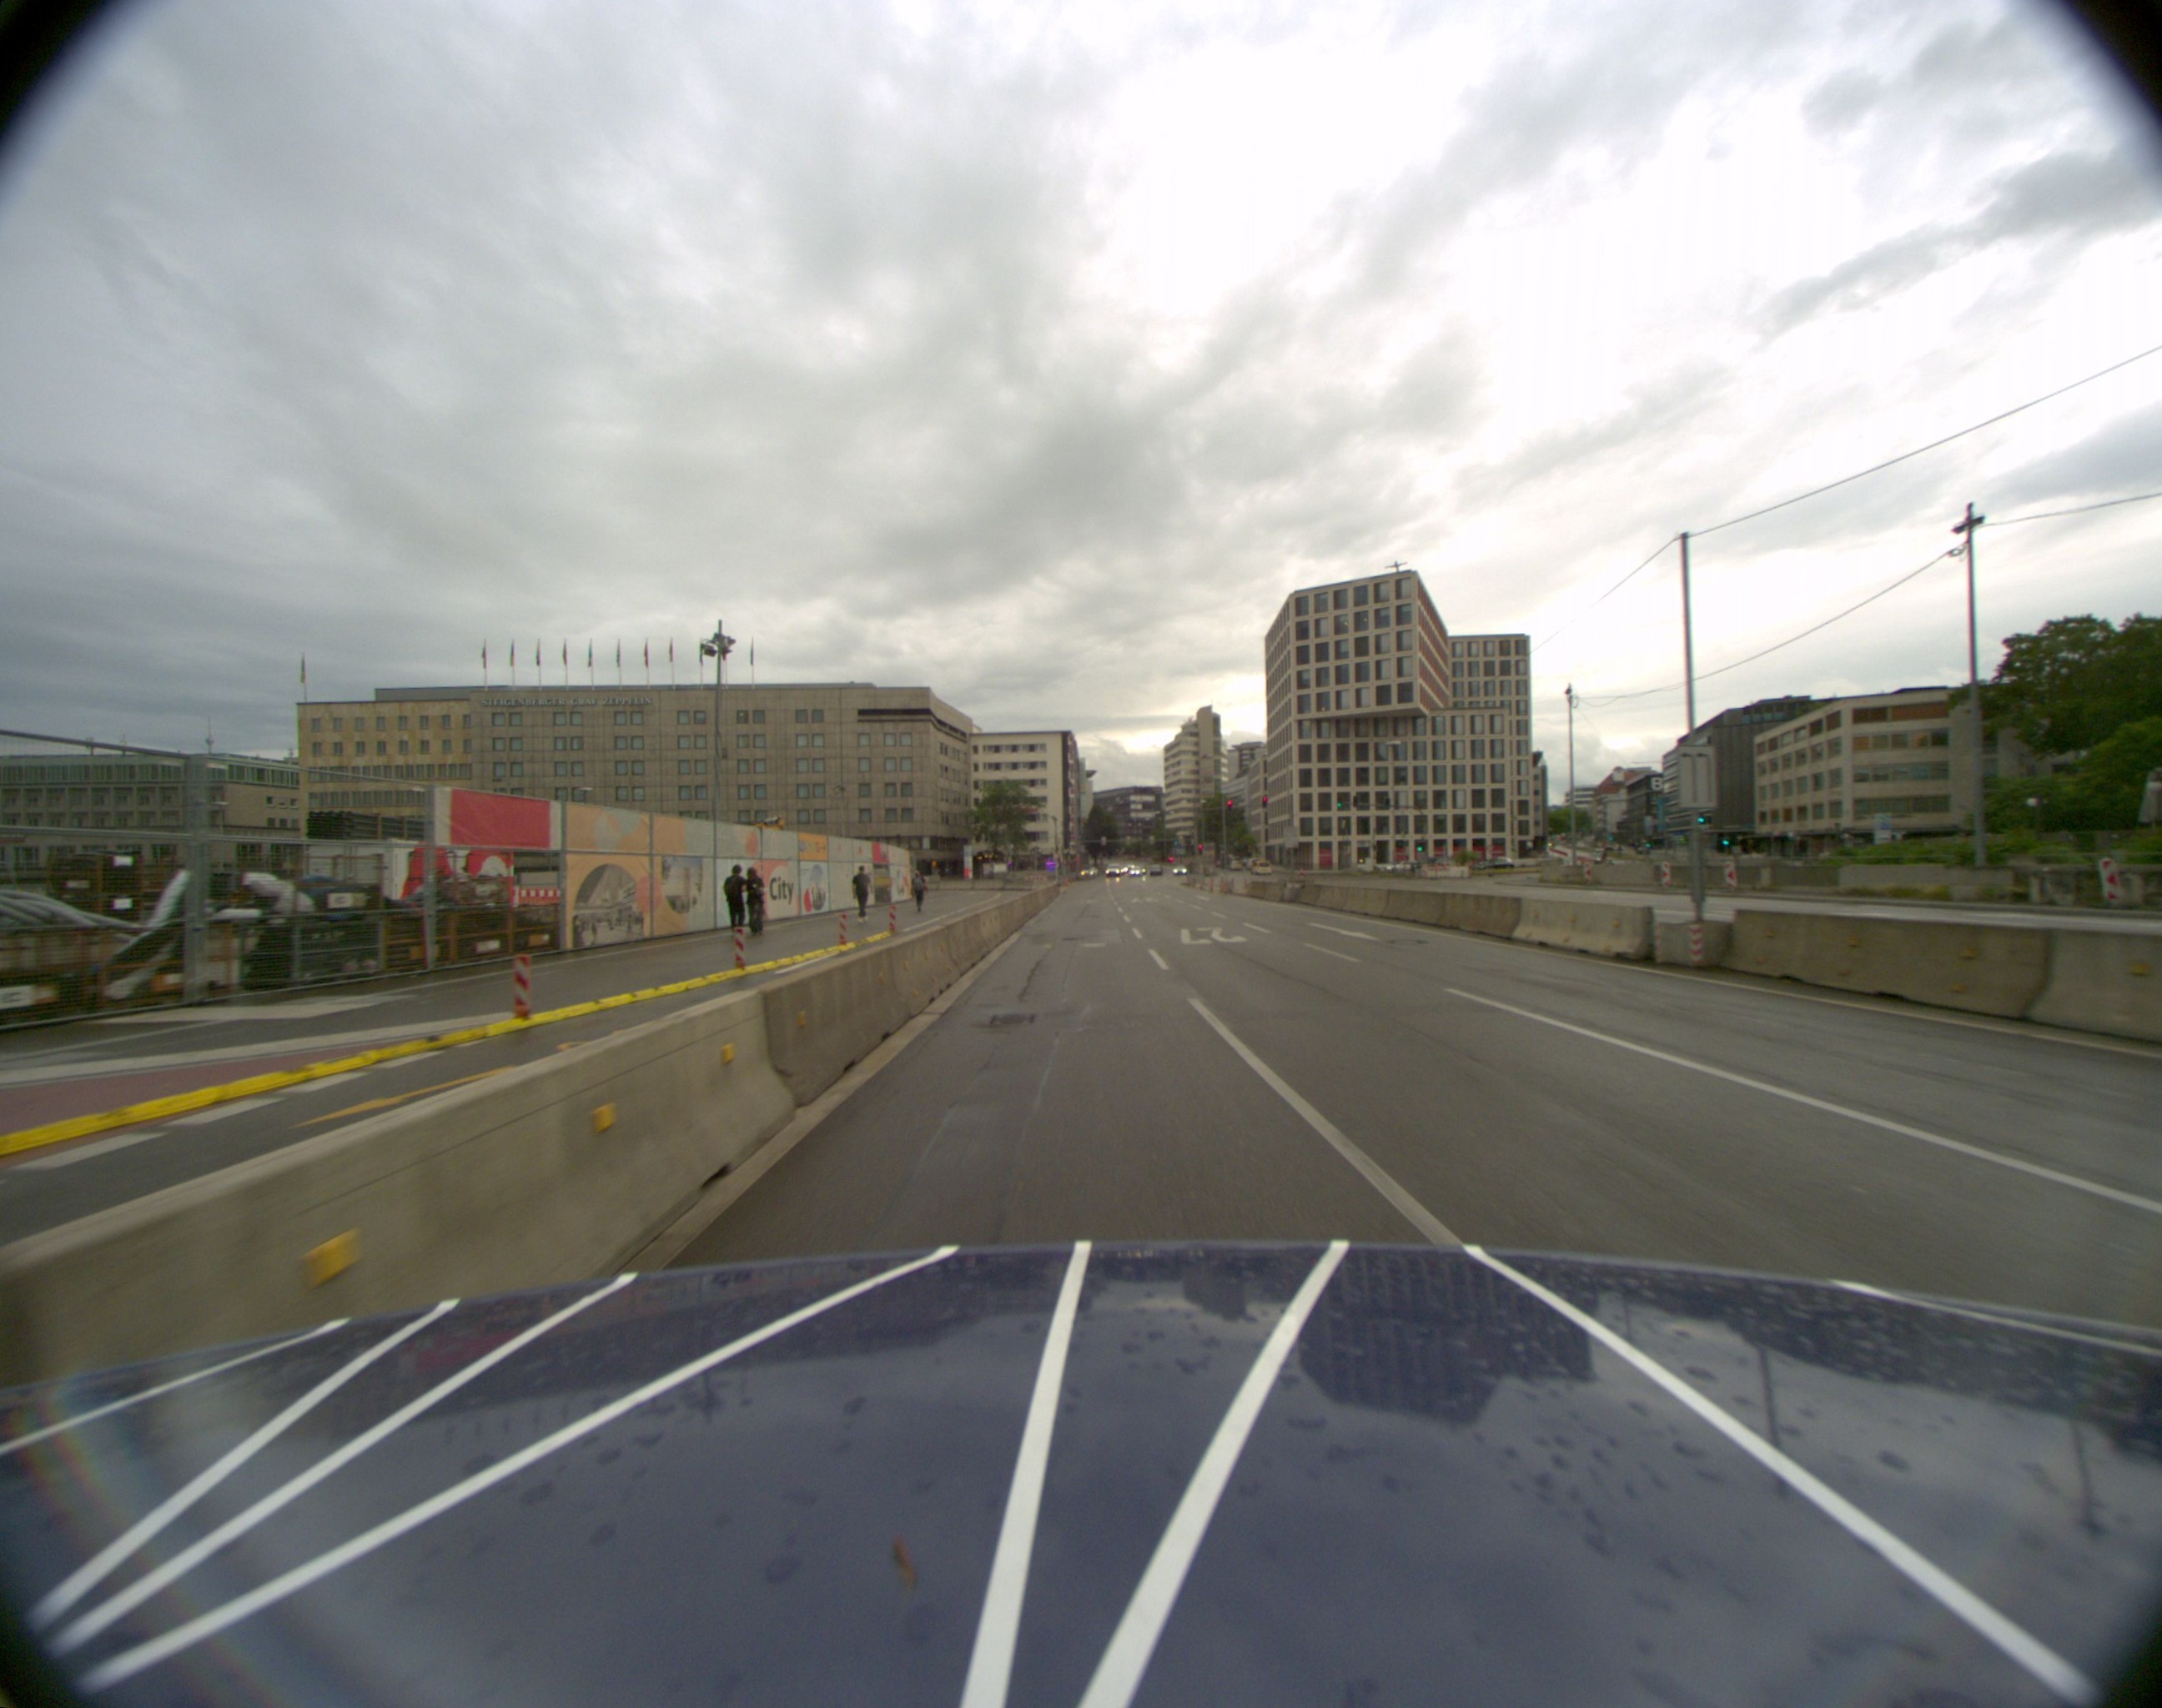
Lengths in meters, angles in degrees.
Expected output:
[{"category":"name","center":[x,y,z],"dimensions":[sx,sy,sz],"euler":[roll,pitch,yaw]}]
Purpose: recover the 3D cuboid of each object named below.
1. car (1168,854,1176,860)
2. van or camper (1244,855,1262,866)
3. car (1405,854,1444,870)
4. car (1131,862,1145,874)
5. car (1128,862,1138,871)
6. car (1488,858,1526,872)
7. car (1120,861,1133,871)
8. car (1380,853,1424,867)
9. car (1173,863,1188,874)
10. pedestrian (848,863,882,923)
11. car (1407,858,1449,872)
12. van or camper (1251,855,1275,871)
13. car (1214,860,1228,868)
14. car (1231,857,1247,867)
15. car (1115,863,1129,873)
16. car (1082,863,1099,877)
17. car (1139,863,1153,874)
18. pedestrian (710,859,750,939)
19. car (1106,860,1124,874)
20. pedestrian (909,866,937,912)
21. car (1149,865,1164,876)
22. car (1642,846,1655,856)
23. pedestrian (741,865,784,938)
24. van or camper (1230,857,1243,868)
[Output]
[{"category":"car","center":[25.928,0.884,216.616],"dimensions":[1.850,1.589,4.181],"euler":[-2,0,0]},{"category":"van or camper","center":[29.063,1.100,128.699],"dimensions":[1.886,1.882,5.213],"euler":[-2,0,0]},{"category":"car","center":[43.121,0.981,95.373],"dimensions":[3.995,1.805,1.806],"euler":[-2,0,5]},{"category":"car","center":[8.506,2.036,113.091],"dimensions":[2.016,1.728,4.666],"euler":[0,0,6]},{"category":"car","center":[9.570,2.309,140.030],"dimensions":[1.671,1.475,3.487],"euler":[-2,-1,5]},{"category":"car","center":[54.678,1.456,97.560],"dimensions":[4.132,1.705,1.856],"euler":[-1,-1,-13]},{"category":"car","center":[7.697,2.068,128.731],"dimensions":[2.016,1.589,4.666],"euler":[-2,0,6]},{"category":"car","center":[41.948,0.806,99.492],"dimensions":[4.809,1.742,2.230],"euler":[-1,-1,0]},{"category":"car","center":[14.819,2.134,112.823],"dimensions":[2.015,1.589,4.667],"euler":[-2,0,10]},{"category":"pedestrian","center":[-6.923,1.227,24.364],"dimensions":[0.798,1.866,0.820],"euler":[-1,0,2]},{"category":"car","center":[39.540,1.242,86.642],"dimensions":[3.999,1.477,1.835],"euler":[-2,0,-7]},{"category":"van or camper","center":[25.126,1.215,105.304],"dimensions":[2.244,2.042,5.609],"euler":[-2,0,4]},{"category":"car","center":[27.438,1.986,149.301],"dimensions":[1.850,1.589,4.181],"euler":[-2,0,0]},{"category":"car","center":[26.928,1.359,129.455],"dimensions":[1.846,1.663,4.381],"euler":[-2,0,2]},{"category":"car","center":[6.658,2.239,121.716],"dimensions":[2.016,1.589,4.666],"euler":[-2,0,6]},{"category":"car","center":[1.502,2.437,114.837],"dimensions":[1.921,2.001,4.003],"euler":[-1,-1,9]},{"category":"car","center":[10.164,2.247,118.891],"dimensions":[2.016,1.589,4.666],"euler":[-2,0,6]},{"category":"pedestrian","center":[-8.920,1.133,19.343],"dimensions":[0.681,2.001,0.687],"euler":[-1,-2,1]},{"category":"car","center":[5.169,1.918,114.466],"dimensions":[2.084,1.893,5.089],"euler":[-2,0,8]},{"category":"pedestrian","center":[-6.471,1.420,31.141],"dimensions":[0.927,1.823,0.686],"euler":[-1,0,2]},{"category":"car","center":[11.249,2.465,113.170],"dimensions":[2.016,1.589,4.666],"euler":[-2,0,6]},{"category":"car","center":[118.443,-0.677,158.560],"dimensions":[1.994,2.001,4.009],"euler":[-1,-1,36]},{"category":"pedestrian","center":[-8.143,1.205,19.444],"dimensions":[0.798,1.823,0.626],"euler":[-1,0,2]},{"category":"van or camper","center":[31.281,1.699,152.873],"dimensions":[1.850,1.967,4.256],"euler":[-2,0,0]}]
